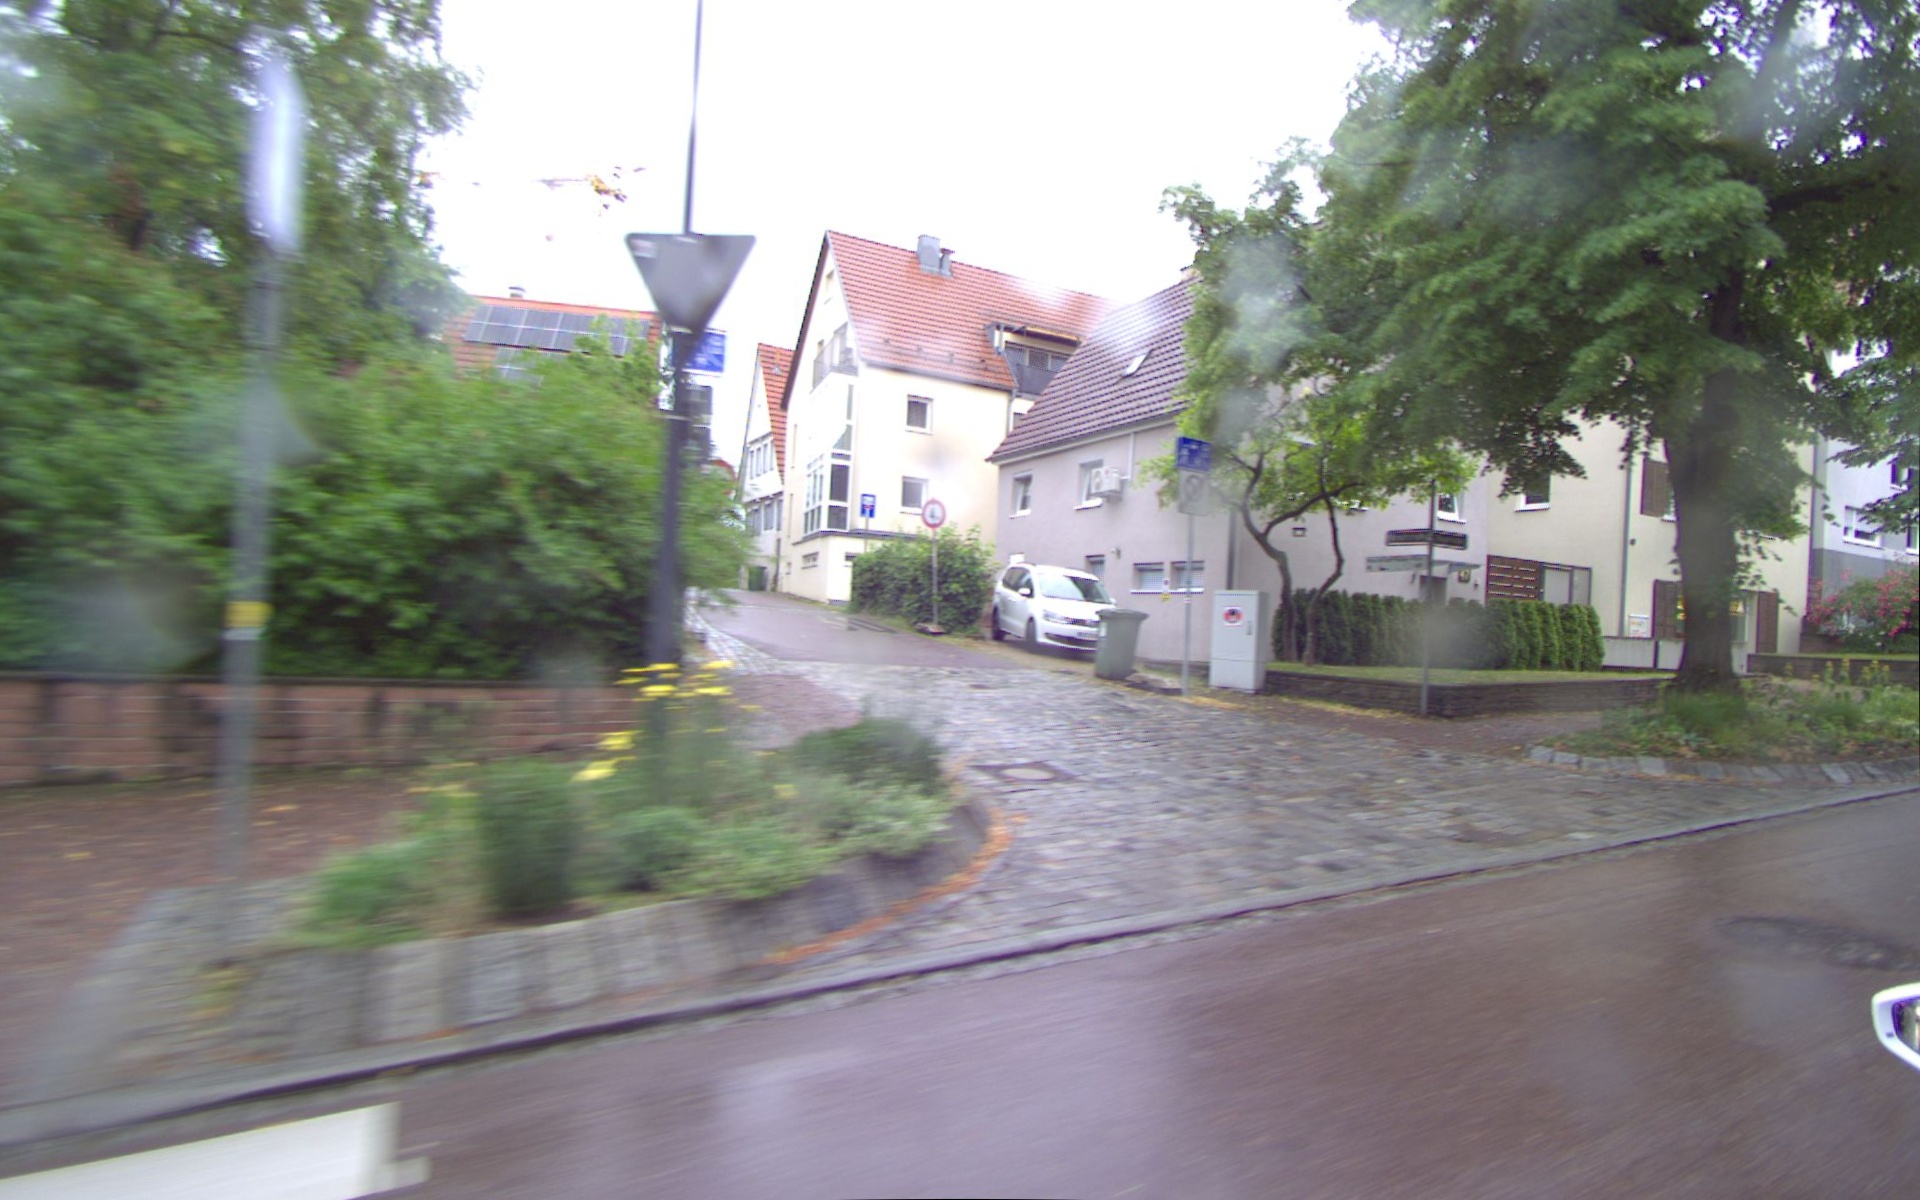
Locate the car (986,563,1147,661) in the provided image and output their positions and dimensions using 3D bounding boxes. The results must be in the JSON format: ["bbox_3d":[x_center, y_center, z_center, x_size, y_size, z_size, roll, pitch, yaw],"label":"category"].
[{"bbox_3d":[2.004,0.203,20.404,1.965,1.710,4.435,2,0,-12],"label":"car"}]

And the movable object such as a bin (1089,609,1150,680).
[{"bbox_3d":[2.444,0.679,15.396,0.727,1.048,0.572,2,-1,-17],"label":"movable object such as a bin"}]
